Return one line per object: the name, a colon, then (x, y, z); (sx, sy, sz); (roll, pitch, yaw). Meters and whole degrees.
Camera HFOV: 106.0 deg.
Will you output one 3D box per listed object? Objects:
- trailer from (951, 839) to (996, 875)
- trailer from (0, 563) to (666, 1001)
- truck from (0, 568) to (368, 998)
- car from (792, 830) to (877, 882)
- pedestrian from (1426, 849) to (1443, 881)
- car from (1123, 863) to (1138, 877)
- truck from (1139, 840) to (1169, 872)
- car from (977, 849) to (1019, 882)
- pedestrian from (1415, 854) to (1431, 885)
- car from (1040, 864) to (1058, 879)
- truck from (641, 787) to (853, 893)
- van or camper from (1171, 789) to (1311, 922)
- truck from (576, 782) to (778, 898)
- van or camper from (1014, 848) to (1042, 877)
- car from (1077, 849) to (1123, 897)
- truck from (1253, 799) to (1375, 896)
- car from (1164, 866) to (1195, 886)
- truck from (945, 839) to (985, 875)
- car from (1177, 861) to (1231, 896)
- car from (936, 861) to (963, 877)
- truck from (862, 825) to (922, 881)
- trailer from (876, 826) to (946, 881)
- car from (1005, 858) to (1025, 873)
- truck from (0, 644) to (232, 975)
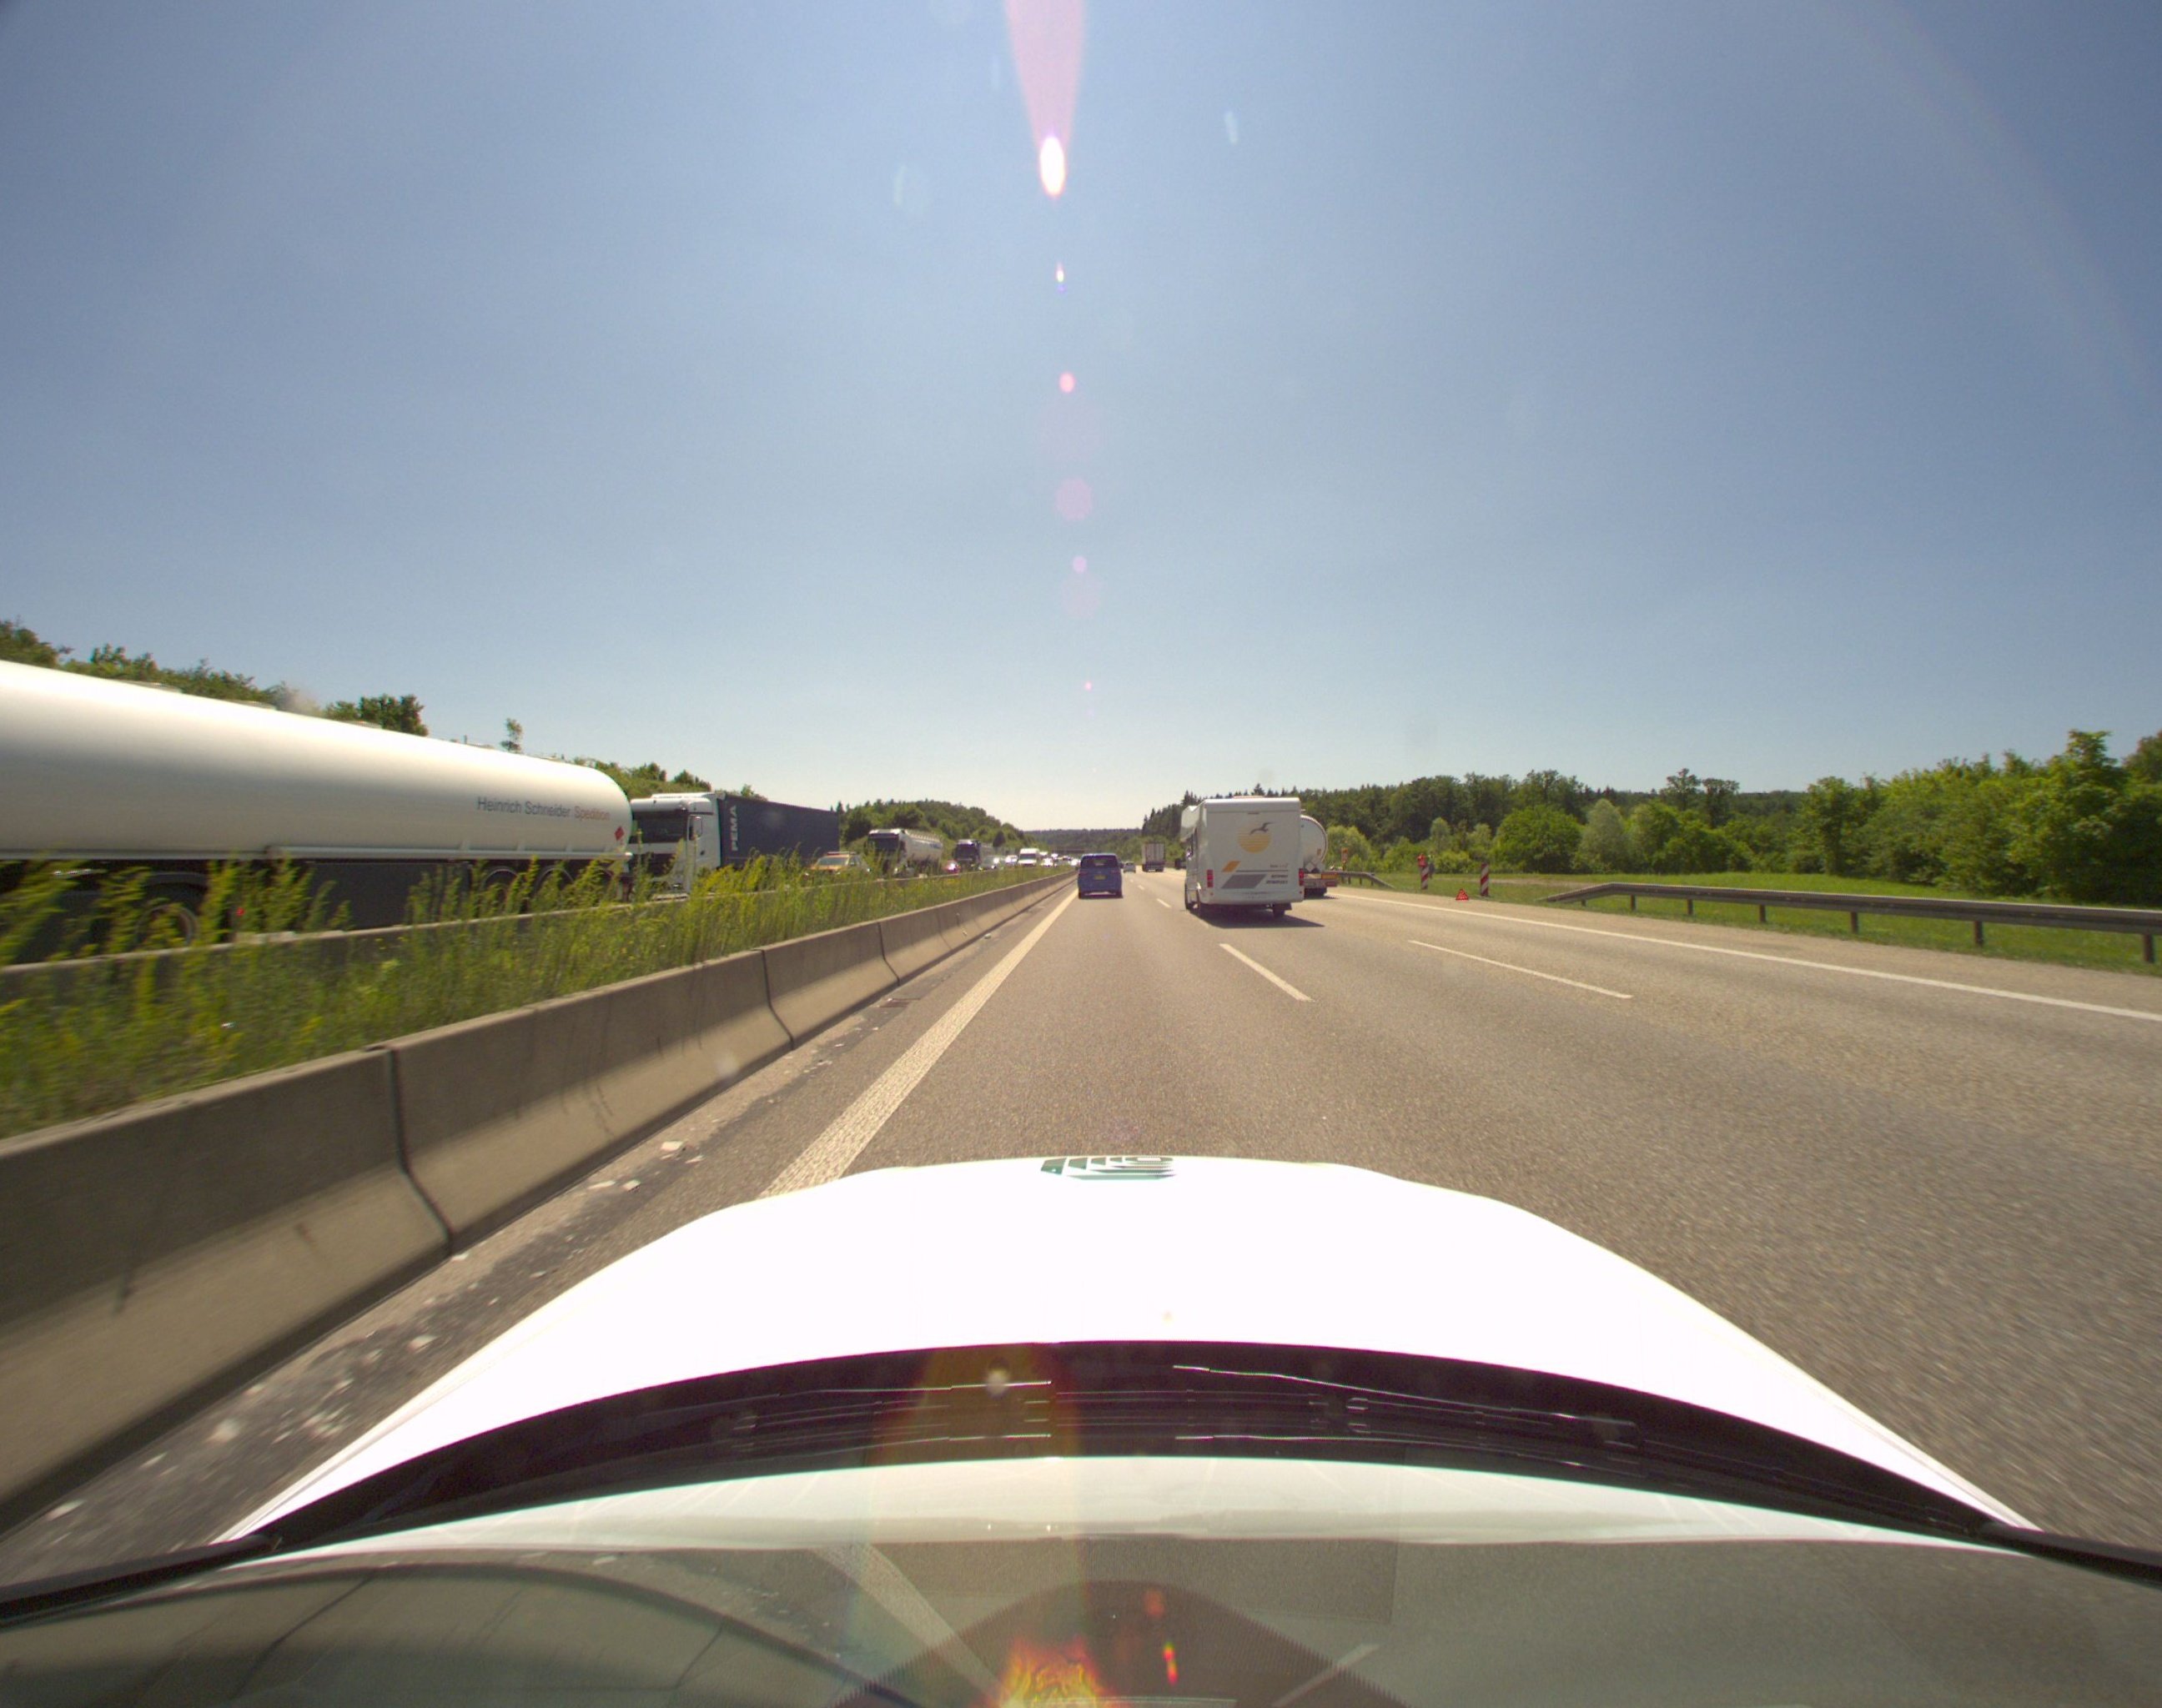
trailer: (-12.795, 0.428, 98.045); (3.565, 4.093, 11.541); (0, -1, 2)
trailer: (-10.989, -0.615, 12.902); (2.670, 3.950, 11.646); (-2, 0, 1)
truck: (-11.079, -0.648, 7.322); (2.608, 3.890, 7.404); (0, -1, 2)
car: (-10.626, 0.121, 35.536); (2.078, 2.063, 5.058); (1, -1, 1)
pedestrian: (23.070, 0.714, 53.183); (0.685, 2.080, 0.928); (2, -1, 2)
car: (6.583, 2.164, 108.580); (1.811, 1.794, 3.895); (2, -1, 1)
truck: (10.044, 0.358, 113.176); (3.474, 4.170, 8.643); (2, -1, 1)
car: (-5.664, 0.818, 56.089); (2.078, 2.063, 5.060); (2, -1, 2)
pedestrian: (23.506, 1.043, 56.059); (0.685, 2.080, 0.928); (2, -1, 2)
car: (-4.332, 2.372, 110.895); (1.986, 2.014, 5.165); (2, -1, 2)
truck: (-15.030, -0.450, 39.031); (3.565, 4.093, 15.010); (0, -1, 2)
van or camper: (4.115, 0.013, 22.468); (2.594, 3.078, 7.184); (-1, 0, 1)
truck: (-15.238, -0.387, 31.749); (3.496, 3.910, 8.147); (1, -1, 1)
van or camper: (-5.517, 0.951, 85.894); (1.986, 2.877, 7.644); (2, -1, 2)
car: (0.847, 0.827, 35.793); (1.902, 2.014, 4.001); (0, -1, 2)
truck: (9.473, -0.238, 34.222); (2.917, 3.575, 8.529); (0, 0, 2)
car: (7.295, 1.630, 60.422); (1.902, 1.475, 4.001); (0, -1, 2)
truck: (-12.987, 0.377, 91.316); (3.442, 3.877, 5.446); (2, -1, 1)
car: (5.321, 1.051, 35.681); (1.902, 1.475, 4.001); (0, -1, 2)
car: (-13.070, 1.504, 81.148); (1.790, 1.539, 4.585); (-2, -1, 1)
truck: (-13.735, -0.016, 59.673); (2.683, 3.879, 6.318); (0, -1, 1)
trailer: (-13.615, 0.126, 66.619); (2.670, 3.950, 13.244); (2, -1, 1)
car: (-8.102, 1.449, 100.618); (1.789, 1.834, 5.747); (-1, -1, 2)
truck: (-15.278, -0.576, 6.486); (3.565, 4.093, 12.582); (0, -1, 2)
